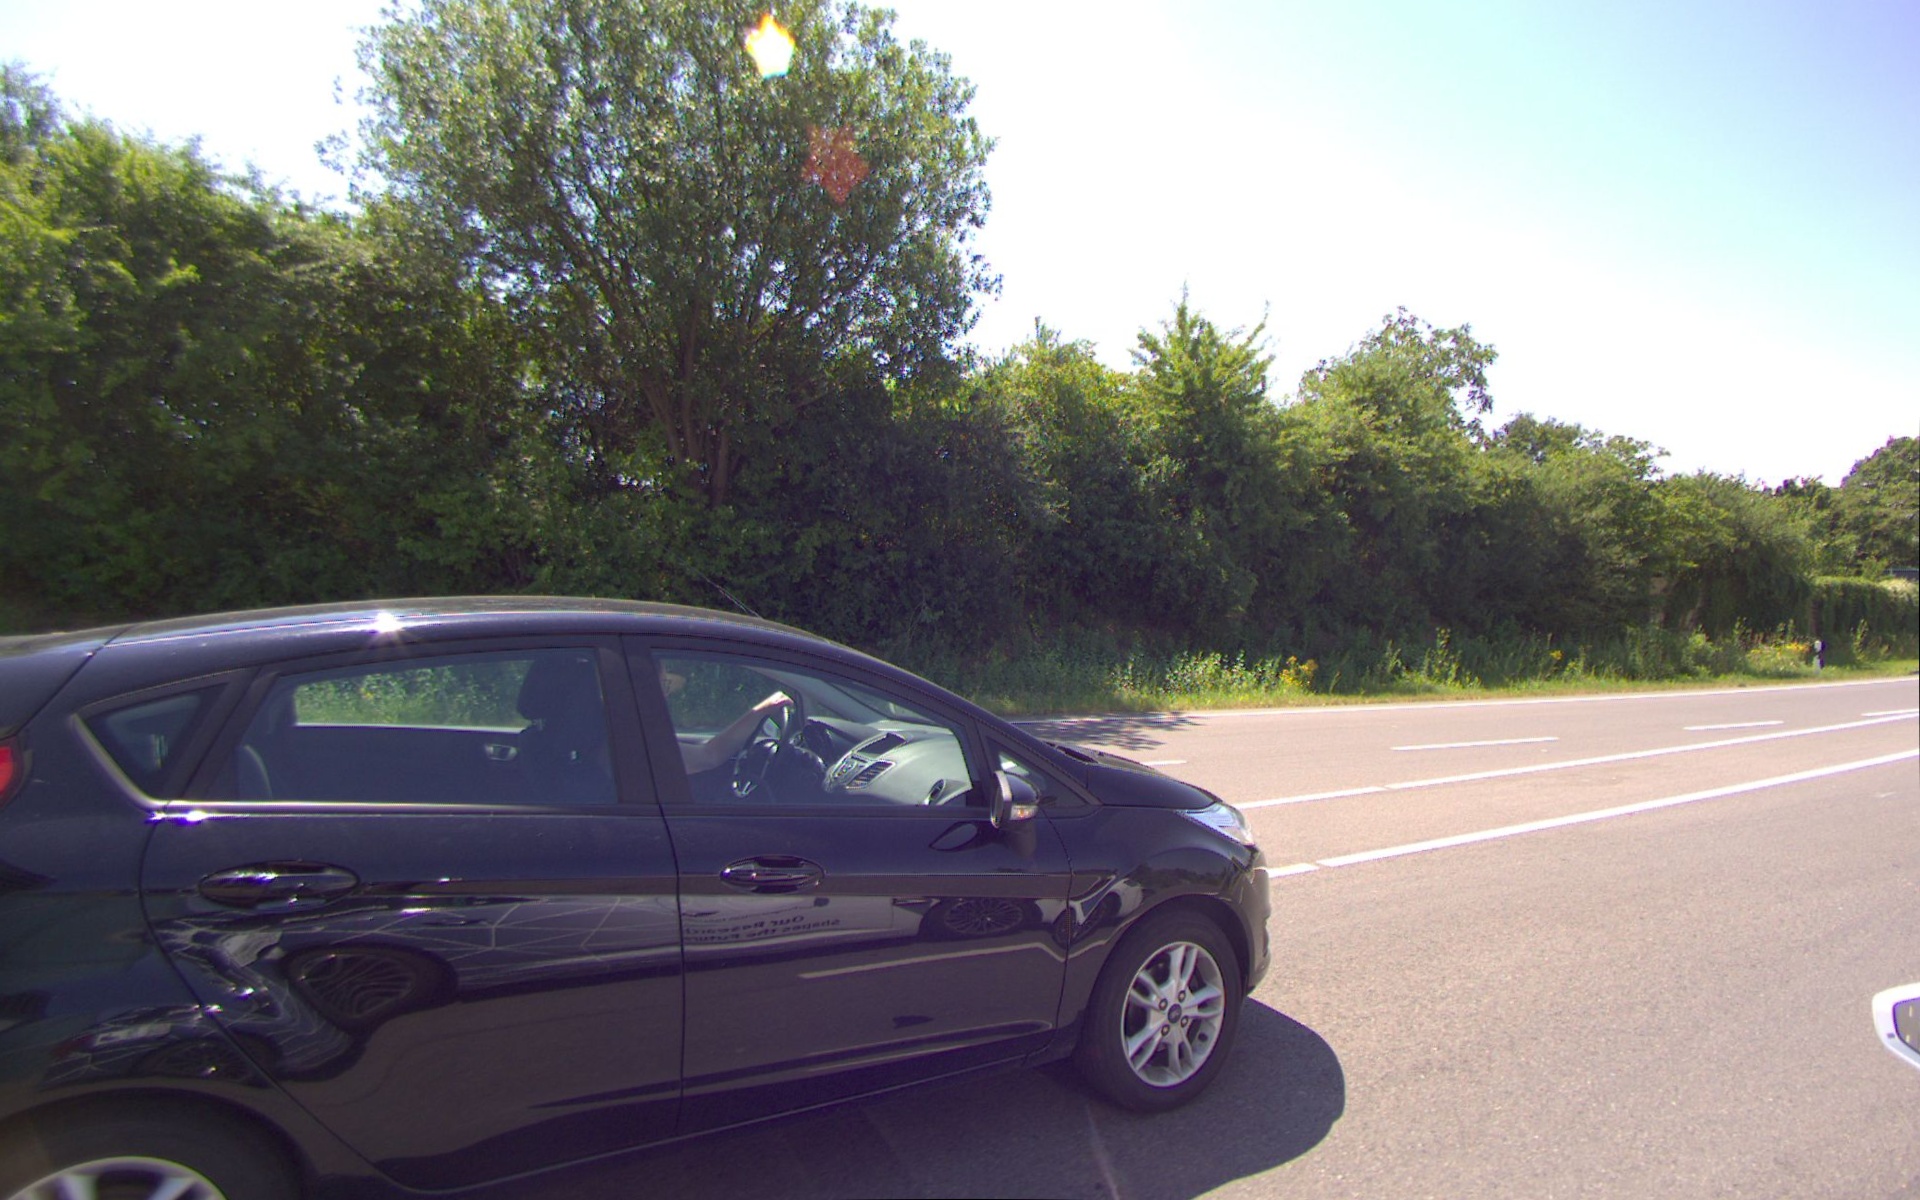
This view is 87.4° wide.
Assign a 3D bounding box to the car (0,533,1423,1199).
[{"bbox_3d":[-0.633,0.644,3.057,4.159,1.514,1.644,1,1,-31],"label":"car"}]
